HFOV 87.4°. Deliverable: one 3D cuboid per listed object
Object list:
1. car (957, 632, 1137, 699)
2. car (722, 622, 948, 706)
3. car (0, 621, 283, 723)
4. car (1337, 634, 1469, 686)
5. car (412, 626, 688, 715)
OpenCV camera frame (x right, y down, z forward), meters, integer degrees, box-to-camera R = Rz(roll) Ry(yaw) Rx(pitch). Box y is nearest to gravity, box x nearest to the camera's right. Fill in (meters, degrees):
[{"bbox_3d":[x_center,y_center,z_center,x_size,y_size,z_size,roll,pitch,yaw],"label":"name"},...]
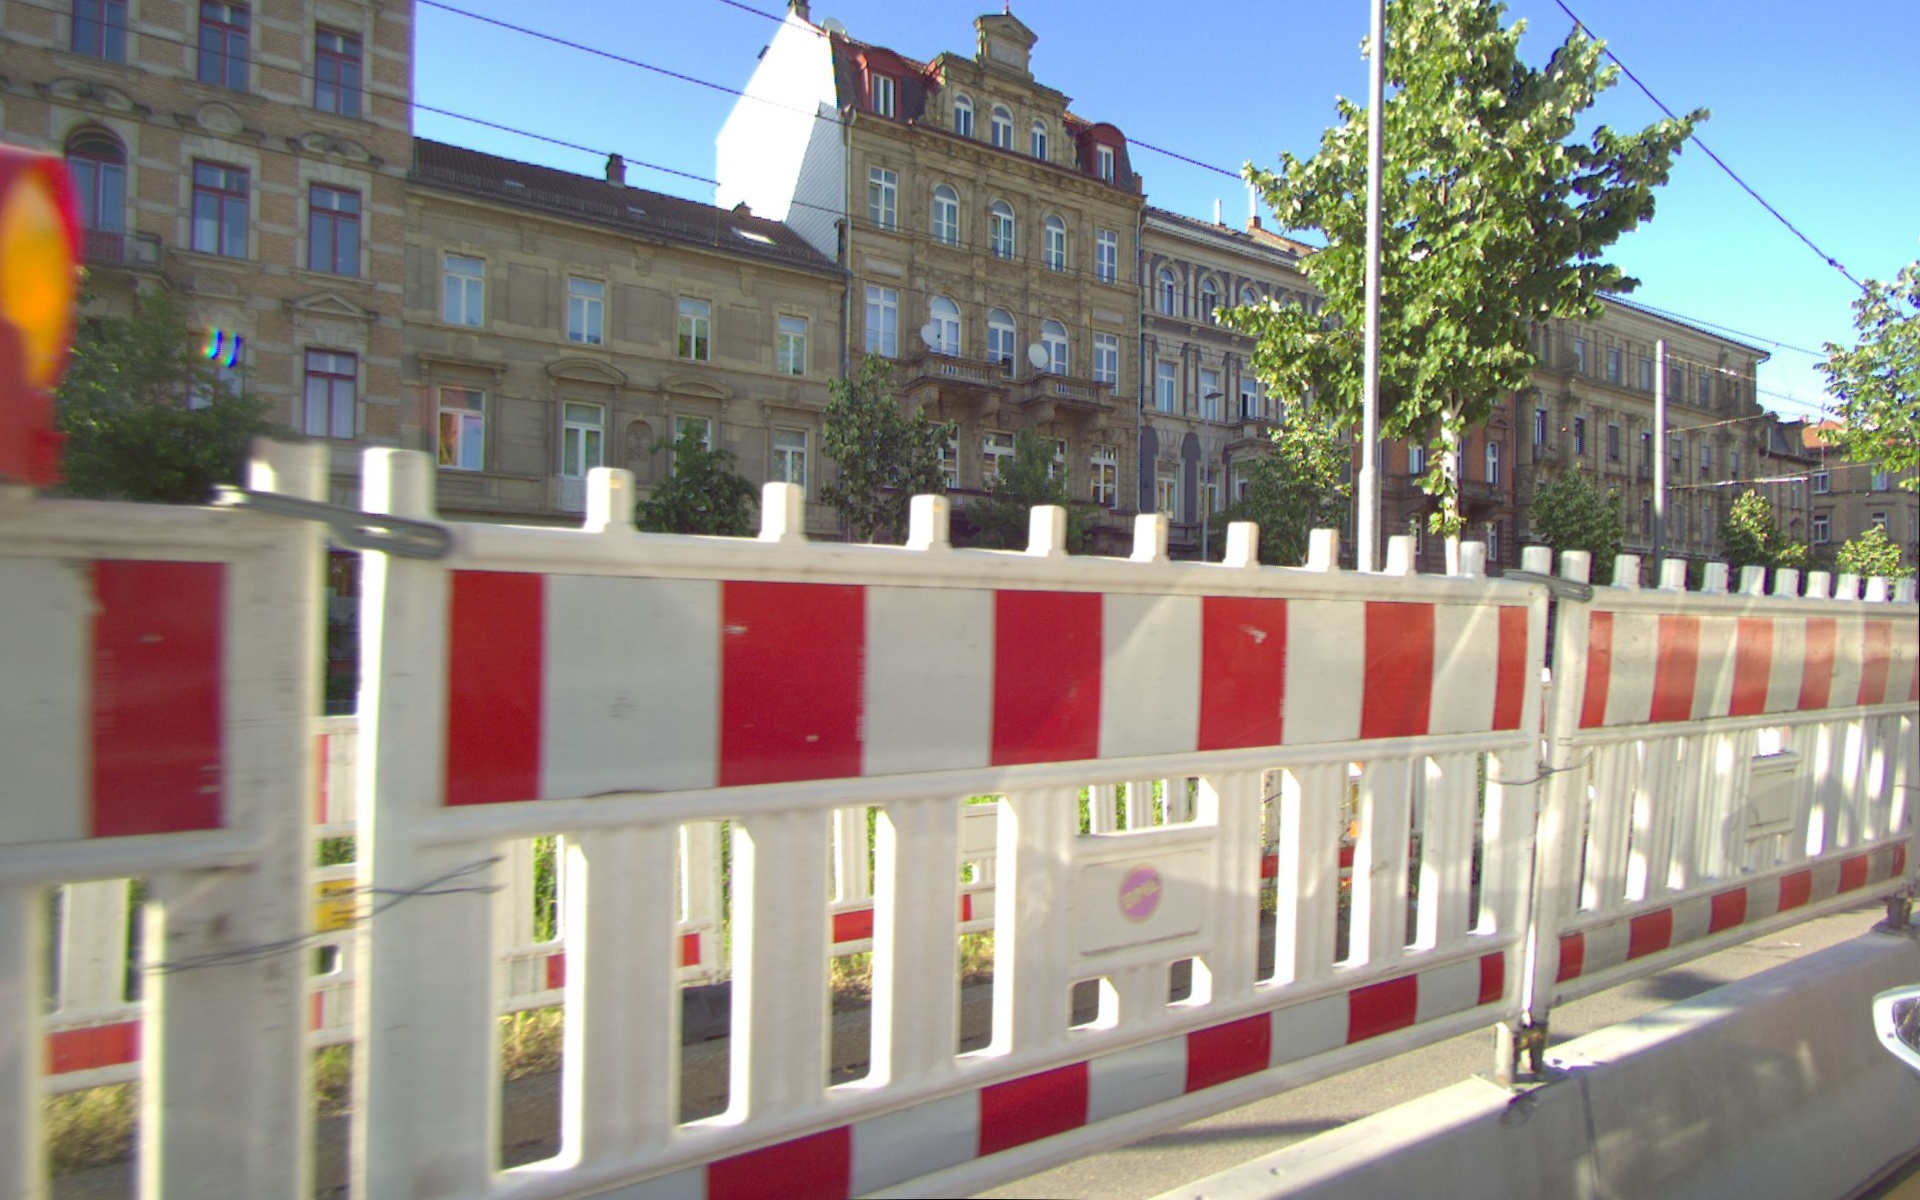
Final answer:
[{"bbox_3d":[2.309,1.683,26.468,4.399,1.573,1.983,2,0,-31],"label":"car"},{"bbox_3d":[-2.856,1.439,23.387,4.833,1.720,1.983,2,0,-31],"label":"car"},{"bbox_3d":[-13.905,1.170,16.913,3.981,1.499,1.740,2,0,-30],"label":"car"},{"bbox_3d":[15.710,2.108,35.583,4.489,1.680,1.930,2,0,-29],"label":"car"},{"bbox_3d":[-8.218,1.368,20.272,4.926,1.558,1.984,2,0,-30],"label":"car"}]
